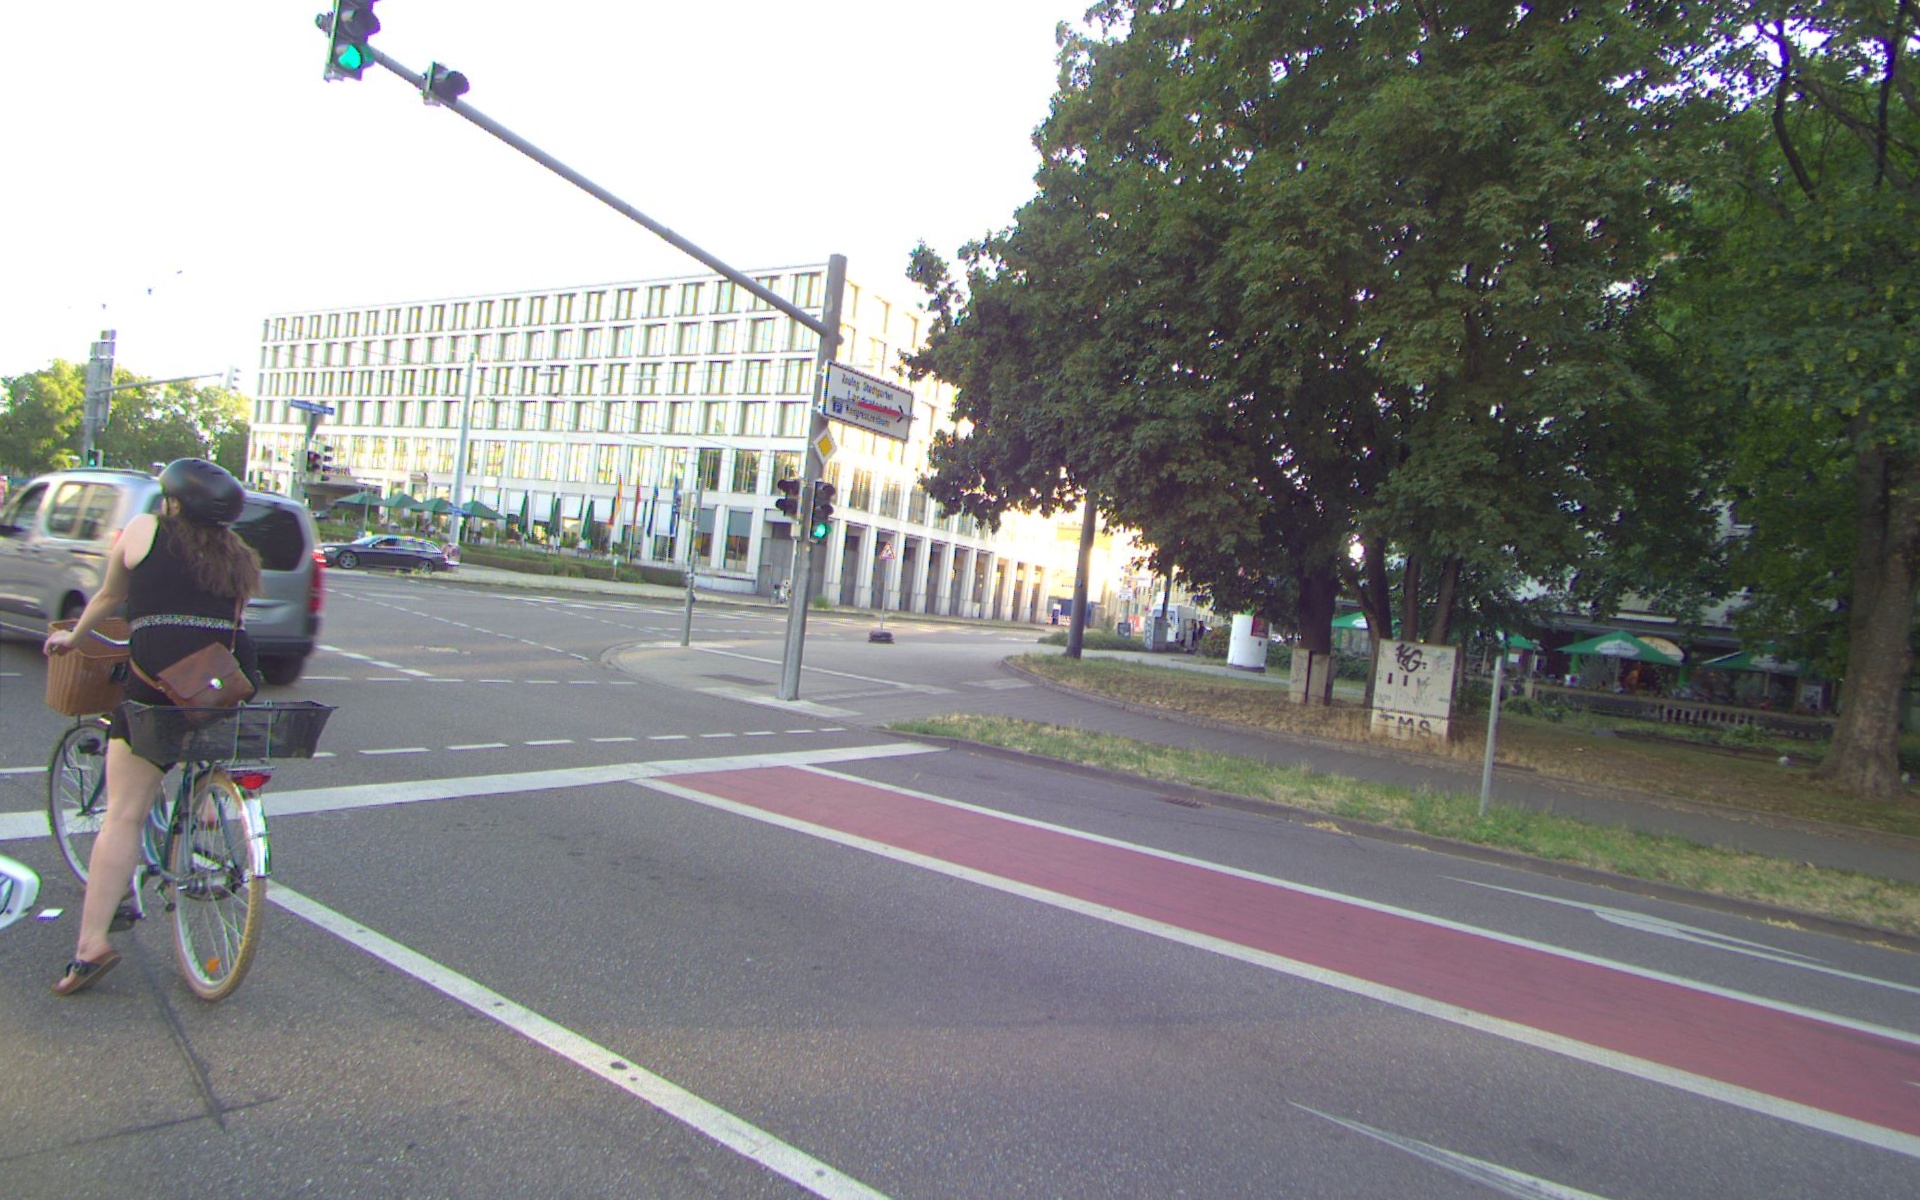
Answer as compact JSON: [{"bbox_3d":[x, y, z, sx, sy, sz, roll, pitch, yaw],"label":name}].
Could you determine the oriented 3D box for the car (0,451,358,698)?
[{"bbox_3d":[-8.187,-0.321,9.992,4.424,1.911,1.766,7,-1,31],"label":"car"}]

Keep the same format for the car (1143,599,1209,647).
[{"bbox_3d":[11.998,1.308,55.664,1.967,2.318,4.605,6,0,31],"label":"car"}]

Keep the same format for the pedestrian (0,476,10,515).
[{"bbox_3d":[-42.298,-4.607,44.281,0.557,1.678,0.460,7,2,32],"label":"pedestrian"}]

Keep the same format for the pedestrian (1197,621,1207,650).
[{"bbox_3d":[13.421,1.969,55.790,0.302,1.525,0.336,7,-1,31],"label":"pedestrian"}]

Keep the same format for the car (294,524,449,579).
[{"bbox_3d":[-22.983,-1.854,39.487,1.968,1.534,4.826,7,0,34],"label":"car"}]

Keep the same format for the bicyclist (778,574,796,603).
[{"bbox_3d":[-9.846,-0.648,57.333,0.567,1.556,0.708,7,1,29],"label":"bicyclist"}]

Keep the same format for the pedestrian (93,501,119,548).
[{"bbox_3d":[-29.844,-2.622,35.154,0.402,1.559,0.491,7,2,31],"label":"pedestrian"}]

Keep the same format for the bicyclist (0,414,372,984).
[{"bbox_3d":[-2.670,0.265,3.420,0.982,1.655,0.600,7,0,32],"label":"bicyclist"}]

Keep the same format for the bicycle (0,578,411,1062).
[{"bbox_3d":[-2.817,0.600,3.481,1.971,1.146,0.612,7,-1,32],"label":"bicycle"}]

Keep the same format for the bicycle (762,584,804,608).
[{"bbox_3d":[-10.026,-0.221,57.136,0.592,1.120,2.775,7,0,29],"label":"bicycle"}]
